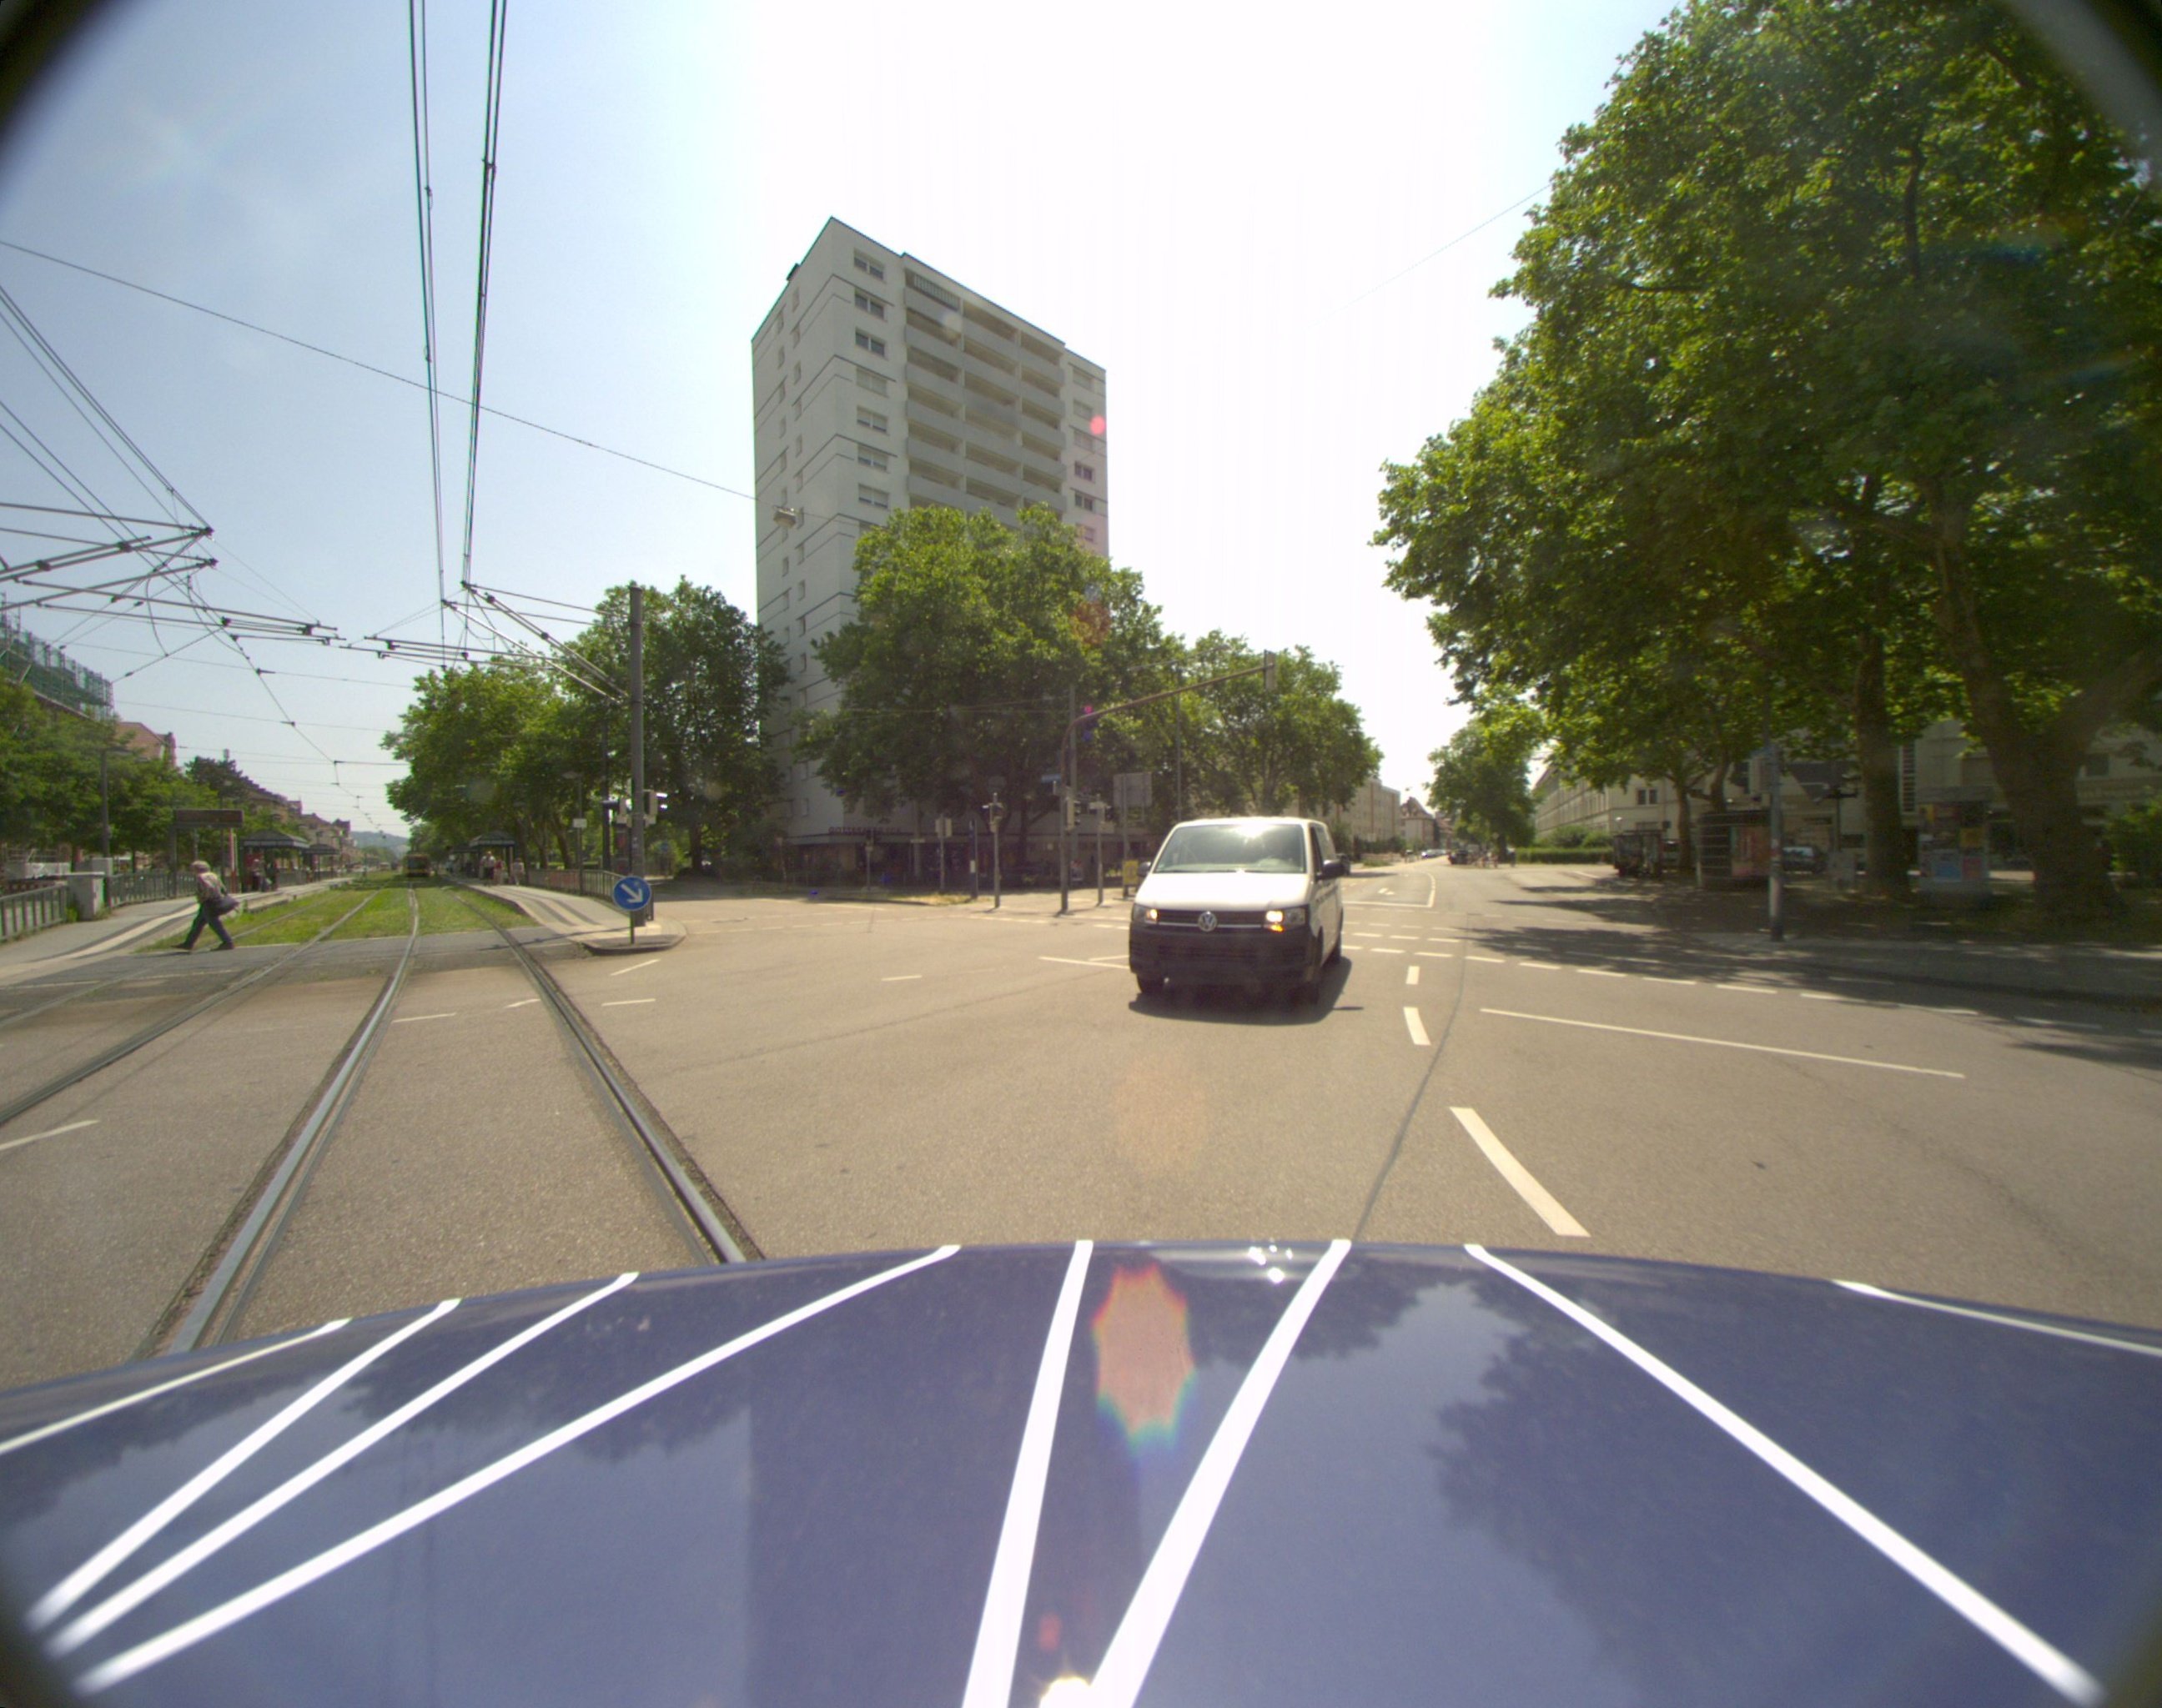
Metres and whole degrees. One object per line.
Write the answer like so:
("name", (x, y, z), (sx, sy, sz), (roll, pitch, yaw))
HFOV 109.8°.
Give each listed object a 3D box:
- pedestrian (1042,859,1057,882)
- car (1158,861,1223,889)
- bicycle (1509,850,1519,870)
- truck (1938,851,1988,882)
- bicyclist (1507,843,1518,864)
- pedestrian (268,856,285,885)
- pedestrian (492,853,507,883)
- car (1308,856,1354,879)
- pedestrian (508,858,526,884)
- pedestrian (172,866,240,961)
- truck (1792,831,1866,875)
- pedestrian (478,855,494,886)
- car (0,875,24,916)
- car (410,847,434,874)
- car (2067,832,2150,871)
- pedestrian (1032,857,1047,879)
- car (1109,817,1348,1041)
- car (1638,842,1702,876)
("pedestrian", (-1.903, 0.989, 45.426), (0.592, 1.357, 0.641), (0, 2, 43))
("car", (6.216, 1.149, 42.760), (1.798, 1.338, 3.801), (0, 2, 42))
("bicycle", (36.094, 0.494, 63.273), (0.595, 1.546, 1.846), (0, 2, 34))
("truck", (41.948, 0.572, 36.180), (2.988, 1.369, 1.465), (-2, 2, -43))
("bicyclist", (35.687, -0.041, 62.783), (0.703, 1.726, 0.789), (0, 2, 34))
("pedestrian", (-44.703, 0.902, 42.205), (0.551, 1.597, 0.552), (-3, 2, -42))
("pedestrian", (-31.826, 0.763, 41.610), (0.548, 1.571, 0.513), (-3, 2, -42))
("car", (18.086, 0.932, 54.859), (1.941, 1.453, 4.065), (0, 1, 36))
("pedestrian", (-30.255, 0.910, 40.769), (0.681, 1.342, 0.630), (-3, 2, -42))
("pedestrian", (-16.367, 1.087, 14.234), (0.681, 1.696, 0.552), (-3, 2, -39))
("truck", (39.209, -0.085, 39.791), (4.380, 2.110, 1.960), (-2, 2, -35))
("pedestrian", (-31.153, 0.879, 39.803), (0.555, 1.597, 0.678), (-3, 2, -42))
("car", (-56.749, 2.158, 39.291), (3.988, 2.002, 2.004), (0, 2, 41))
("car", (-87.431, 0.836, 100.834), (2.280, 3.320, 12.000), (-2, 1, -41))
("car", (44.823, -0.142, 33.229), (4.008, 1.591, 1.929), (-1, 1, -40))
("pedestrian", (-2.496, 0.848, 46.073), (0.592, 1.357, 0.641), (0, 2, 43))
("car", (2.095, 0.689, 9.236), (1.849, 1.942, 4.952), (-1, -1, 23))
("car", (34.570, 0.245, 44.565), (4.007, 1.888, 1.995), (-1, 1, -37))
